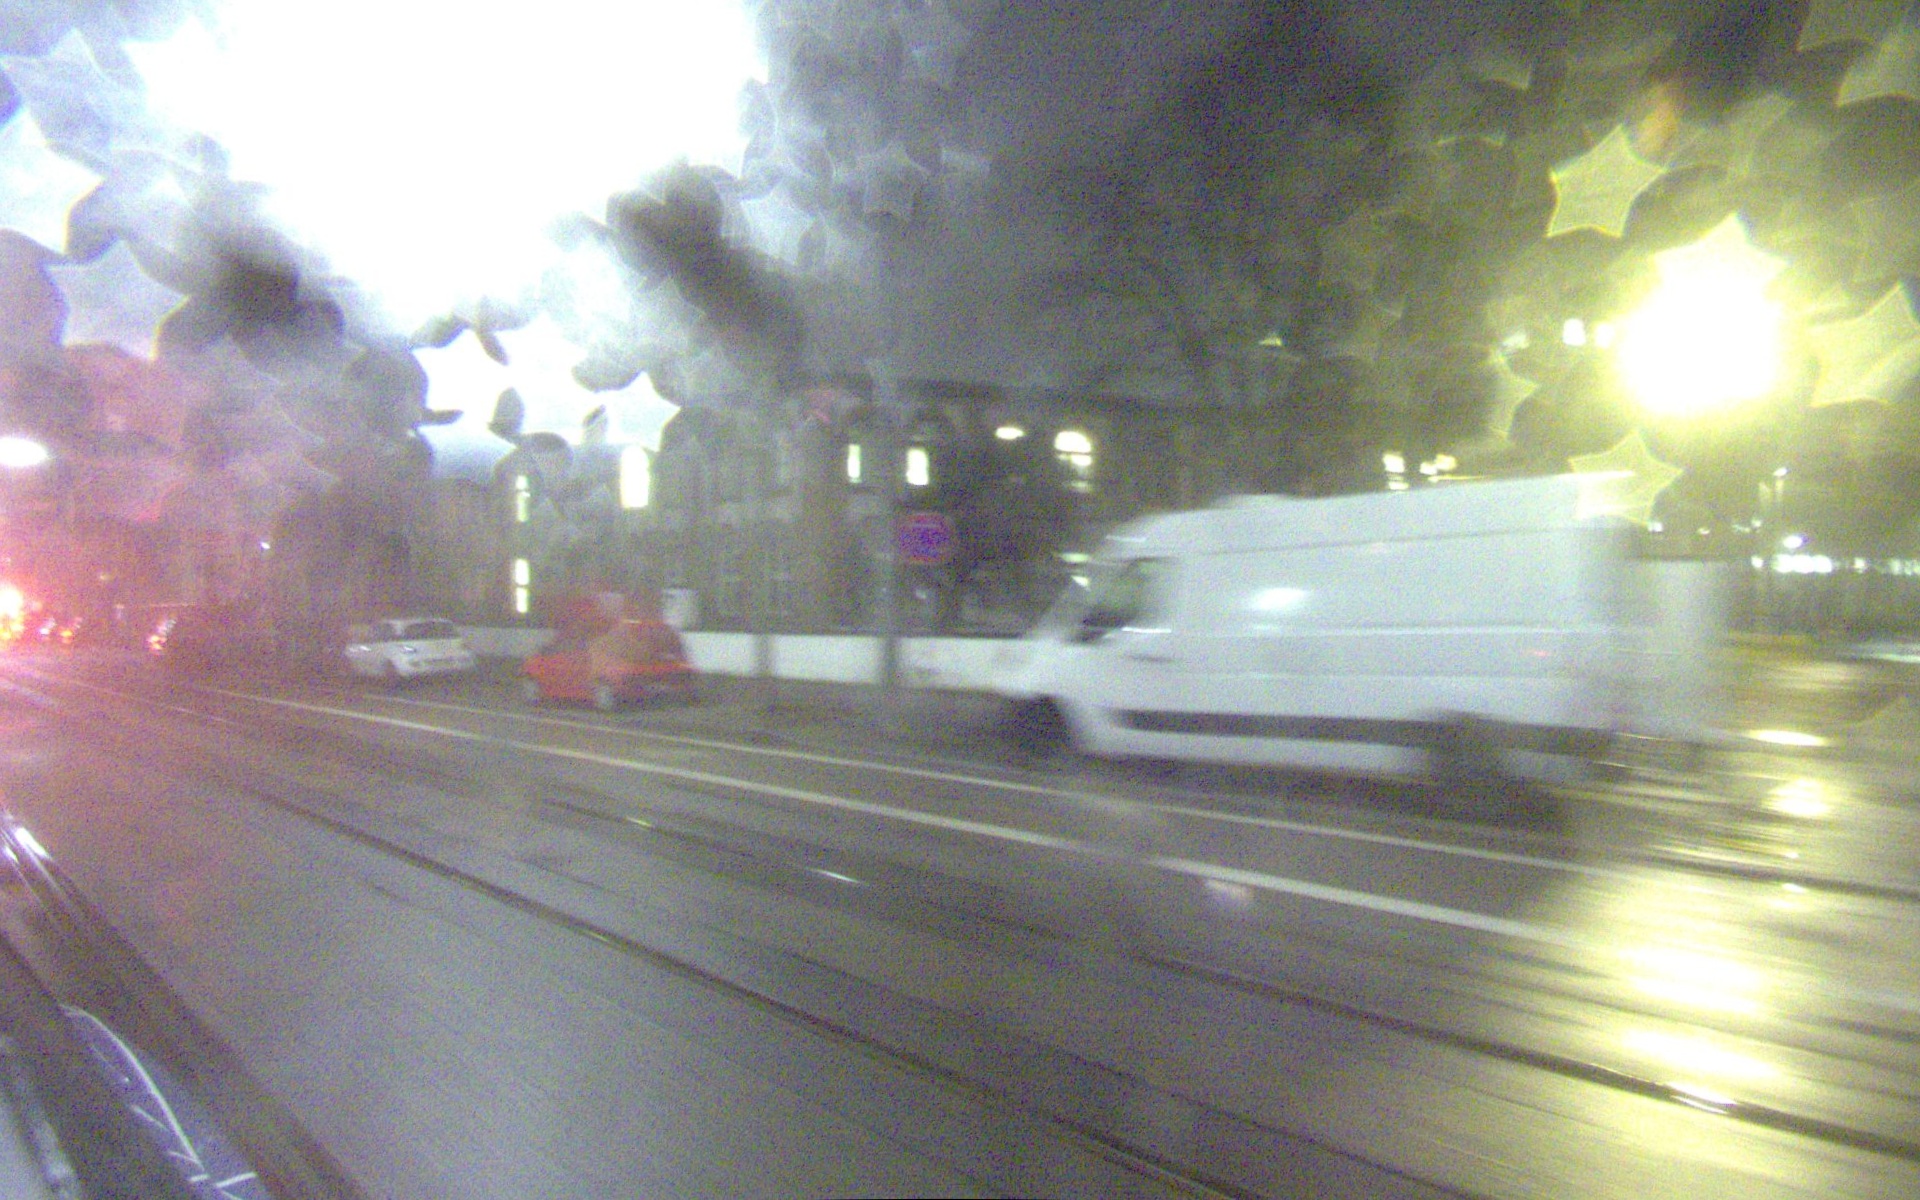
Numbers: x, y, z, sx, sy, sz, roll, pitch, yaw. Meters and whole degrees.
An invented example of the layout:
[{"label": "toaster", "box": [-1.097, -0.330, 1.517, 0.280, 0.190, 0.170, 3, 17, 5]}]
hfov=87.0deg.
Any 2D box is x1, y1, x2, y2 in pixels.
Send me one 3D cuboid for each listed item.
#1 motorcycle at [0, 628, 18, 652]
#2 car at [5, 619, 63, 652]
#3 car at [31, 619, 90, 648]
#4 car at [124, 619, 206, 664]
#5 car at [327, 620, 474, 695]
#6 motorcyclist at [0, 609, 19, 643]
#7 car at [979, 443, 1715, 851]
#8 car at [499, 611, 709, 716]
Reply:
[{"label": "motorcycle", "box": [-51.908, 2.146, 54.804, 0.805, 1.239, 2.007, 5, -4, -31]}, {"label": "car", "box": [-57.489, 2.195, 62.801, 5.306, 1.839, 1.973, -2, 1, 41]}, {"label": "car", "box": [-49.004, 1.776, 55.127, 4.137, 1.417, 1.748, -1, 2, 40]}, {"label": "car", "box": [-28.547, 1.443, 36.293, 4.000, 1.397, 1.650, 0, 2, 42]}, {"label": "car", "box": [-12.534, 1.216, 22.592, 3.805, 1.439, 1.593, 0, 1, 40]}, {"label": "motorcyclist", "box": [-51.820, 1.387, 54.790, 0.905, 1.753, 1.139, 5, -4, -31]}, {"label": "car", "box": [3.013, 0.301, 8.794, 5.601, 2.517, 2.005, -1, 1, 39]}, {"label": "car", "box": [-6.002, 1.033, 16.899, 3.615, 1.518, 1.625, -3, -1, 39]}]
